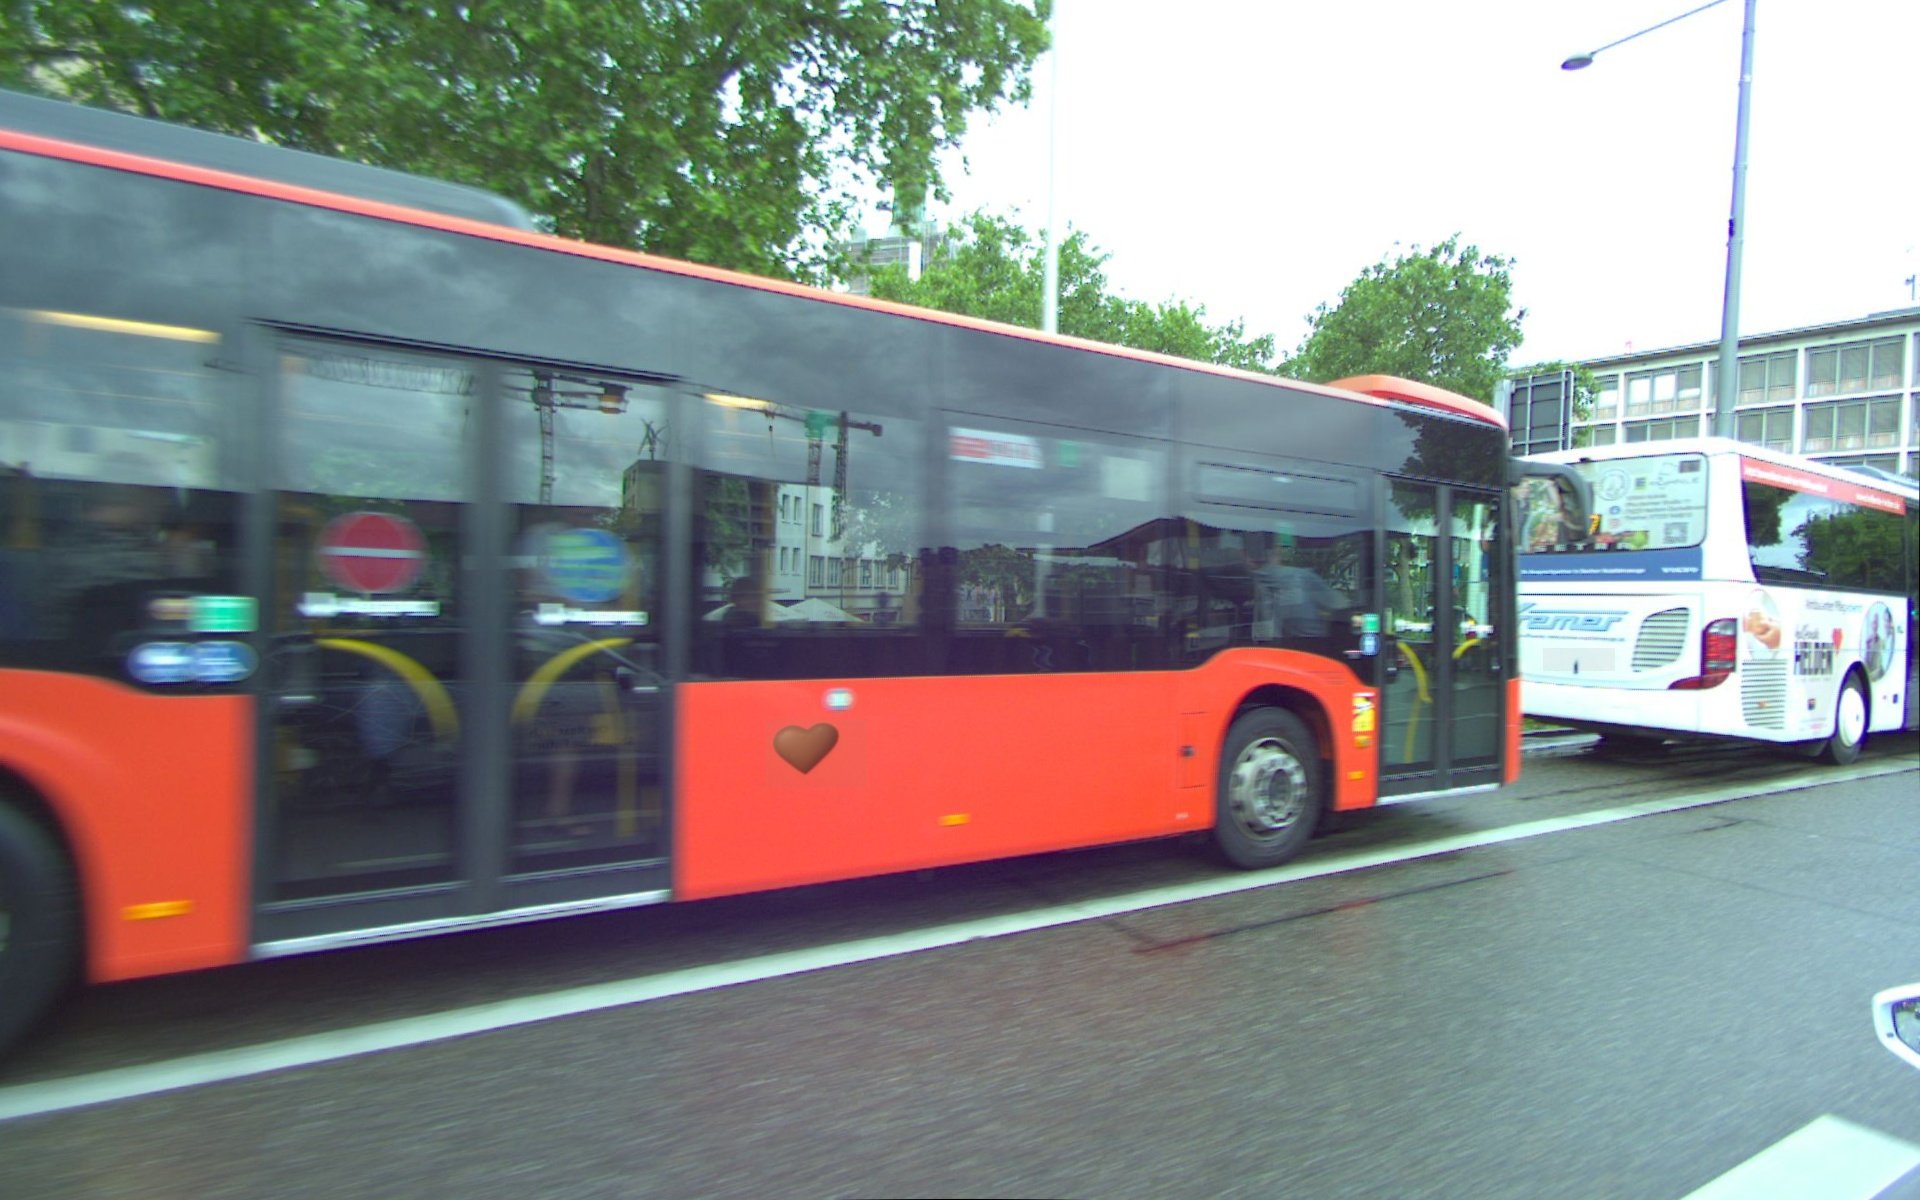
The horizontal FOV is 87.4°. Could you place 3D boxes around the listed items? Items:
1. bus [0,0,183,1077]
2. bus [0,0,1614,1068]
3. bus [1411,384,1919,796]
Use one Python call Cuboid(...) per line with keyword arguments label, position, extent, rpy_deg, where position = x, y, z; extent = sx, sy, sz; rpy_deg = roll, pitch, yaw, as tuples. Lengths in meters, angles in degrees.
Cuboid(label="bus", position=(-7.552, -0.382, 1.483), extent=(9.802, 3.289, 2.795), rpy_deg=(1, 0, -32))
Cuboid(label="bus", position=(0.334, -0.178, 6.304), extent=(8.740, 3.174, 2.738), rpy_deg=(1, 0, -31))
Cuboid(label="bus", position=(10.972, 0.027, 13.124), extent=(12.422, 3.485, 2.938), rpy_deg=(1, 0, -33))
